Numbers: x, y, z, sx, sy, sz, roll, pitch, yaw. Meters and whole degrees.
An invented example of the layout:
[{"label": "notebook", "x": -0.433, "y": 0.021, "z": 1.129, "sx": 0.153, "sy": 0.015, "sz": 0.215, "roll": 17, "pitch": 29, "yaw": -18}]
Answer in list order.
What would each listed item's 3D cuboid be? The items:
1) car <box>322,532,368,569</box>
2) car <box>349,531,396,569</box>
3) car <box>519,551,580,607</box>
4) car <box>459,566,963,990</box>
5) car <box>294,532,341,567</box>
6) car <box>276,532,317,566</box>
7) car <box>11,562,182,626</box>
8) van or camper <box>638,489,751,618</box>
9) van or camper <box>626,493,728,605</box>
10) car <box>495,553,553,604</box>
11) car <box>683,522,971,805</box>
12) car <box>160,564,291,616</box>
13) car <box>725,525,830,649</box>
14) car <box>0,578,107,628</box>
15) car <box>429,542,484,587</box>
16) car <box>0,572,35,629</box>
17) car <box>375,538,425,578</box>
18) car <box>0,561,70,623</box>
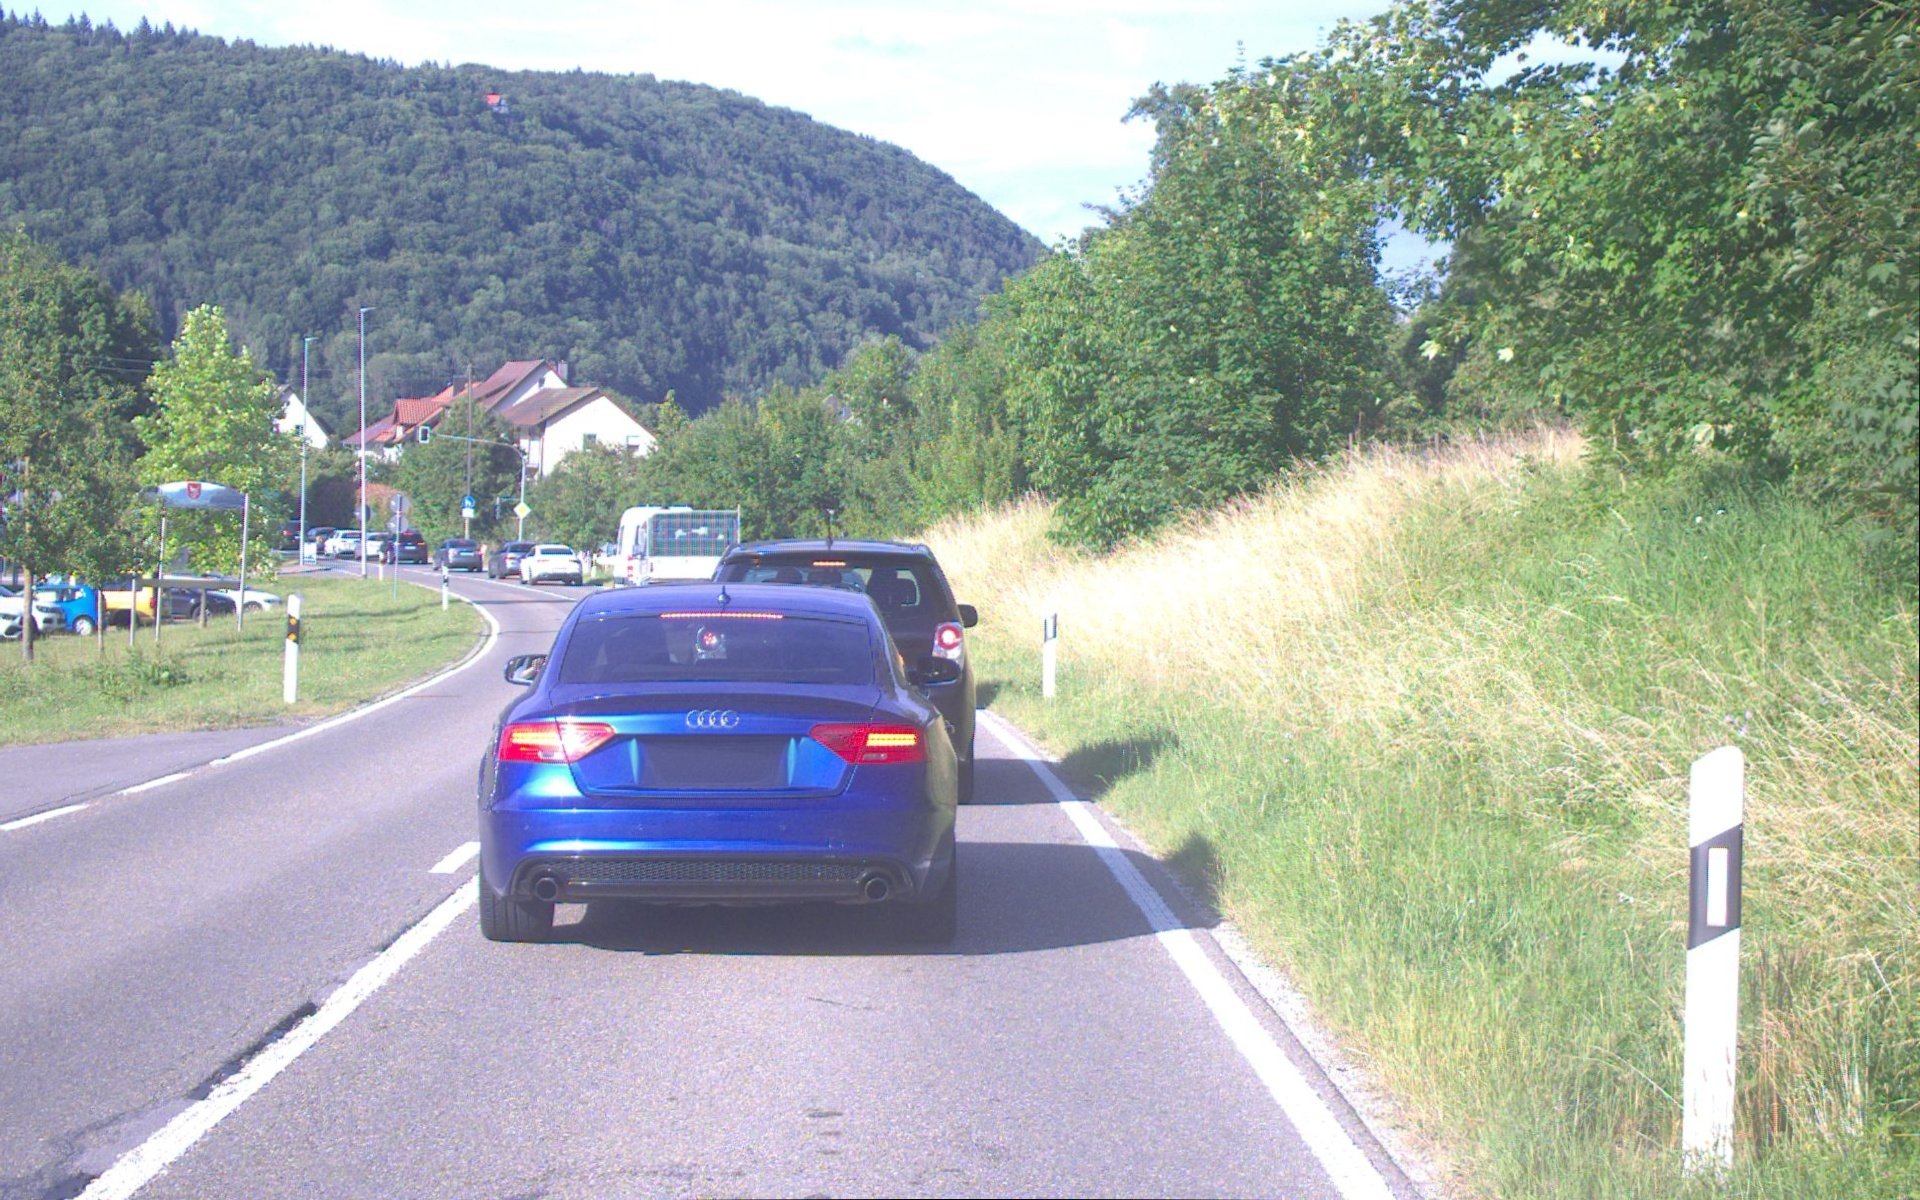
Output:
[{"label": "car", "x": -32.746, "y": -2.637, "z": 182.880, "sx": 1.676, "sy": 1.918, "sz": 4.001, "roll": -1, "pitch": 1, "yaw": -21}, {"label": "car", "x": -29.910, "y": -2.542, "z": 175.009, "sx": 1.676, "sy": 1.918, "sz": 4.001, "roll": -1, "pitch": 1, "yaw": -20}, {"label": "car", "x": -14.542, "y": -0.742, "z": 121.530, "sx": 1.659, "sy": 1.918, "sz": 4.001, "roll": -1, "pitch": 1, "yaw": -14}, {"label": "car", "x": -0.891, "y": 0.611, "z": 13.875, "sx": 1.742, "sy": 1.445, "sz": 3.517, "roll": 1, "pitch": 1, "yaw": 0}, {"label": "car", "x": -35.655, "y": -2.782, "z": 190.746, "sx": 1.954, "sy": 1.918, "sz": 4.001, "roll": -1, "pitch": 1, "yaw": -20}, {"label": "car", "x": -38.366, "y": -2.943, "z": 198.725, "sx": 1.676, "sy": 1.918, "sz": 4.001, "roll": -1, "pitch": 1, "yaw": -21}, {"label": "car", "x": -25.732, "y": -0.194, "z": 102.513, "sx": 4.553, "sy": 1.808, "sz": 1.841, "roll": -1, "pitch": 1, "yaw": 4}, {"label": "van or camper", "x": -5.447, "y": -0.938, "z": 69.886, "sx": 2.051, "sy": 2.497, "sz": 5.812, "roll": -1, "pitch": 1, "yaw": -6}, {"label": "van or camper", "x": -7.215, "y": -1.282, "z": 87.132, "sx": 2.280, "sy": 2.704, "sz": 5.768, "roll": -1, "pitch": 1, "yaw": -7}, {"label": "car", "x": -16.894, "y": -0.849, "z": 133.012, "sx": 1.659, "sy": 1.918, "sz": 4.001, "roll": -1, "pitch": 1, "yaw": -15}, {"label": "car", "x": -0.883, "y": 0.352, "z": 21.872, "sx": 1.645, "sy": 1.619, "sz": 3.517, "roll": 1, "pitch": 1, "yaw": -3}, {"label": "car", "x": -24.989, "y": -0.345, "z": 117.089, "sx": 4.036, "sy": 1.655, "sz": 1.655, "roll": -1, "pitch": 1, "yaw": 4}, {"label": "car", "x": -3.114, "y": -0.247, "z": 58.043, "sx": 1.567, "sy": 2.007, "sz": 4.001, "roll": -1, "pitch": 1, "yaw": -6}, {"label": "car", "x": -26.662, "y": 0.080, "z": 99.932, "sx": 3.368, "sy": 1.369, "sz": 1.660, "roll": -1, "pitch": 1, "yaw": -3}, {"label": "car", "x": -21.938, "y": -1.553, "z": 149.794, "sx": 1.659, "sy": 1.918, "sz": 4.001, "roll": -1, "pitch": 1, "yaw": -18}, {"label": "car", "x": -26.472, "y": 0.030, "z": 90.715, "sx": 3.666, "sy": 1.488, "sz": 1.596, "roll": -1, "pitch": 1, "yaw": 4}, {"label": "car", "x": -27.043, "y": -2.018, "z": 165.914, "sx": 1.676, "sy": 1.918, "sz": 4.001, "roll": -1, "pitch": 1, "yaw": -20}, {"label": "car", "x": -26.609, "y": -0.201, "z": 93.973, "sx": 4.077, "sy": 1.667, "sz": 1.596, "roll": -1, "pitch": 1, "yaw": 4}]
